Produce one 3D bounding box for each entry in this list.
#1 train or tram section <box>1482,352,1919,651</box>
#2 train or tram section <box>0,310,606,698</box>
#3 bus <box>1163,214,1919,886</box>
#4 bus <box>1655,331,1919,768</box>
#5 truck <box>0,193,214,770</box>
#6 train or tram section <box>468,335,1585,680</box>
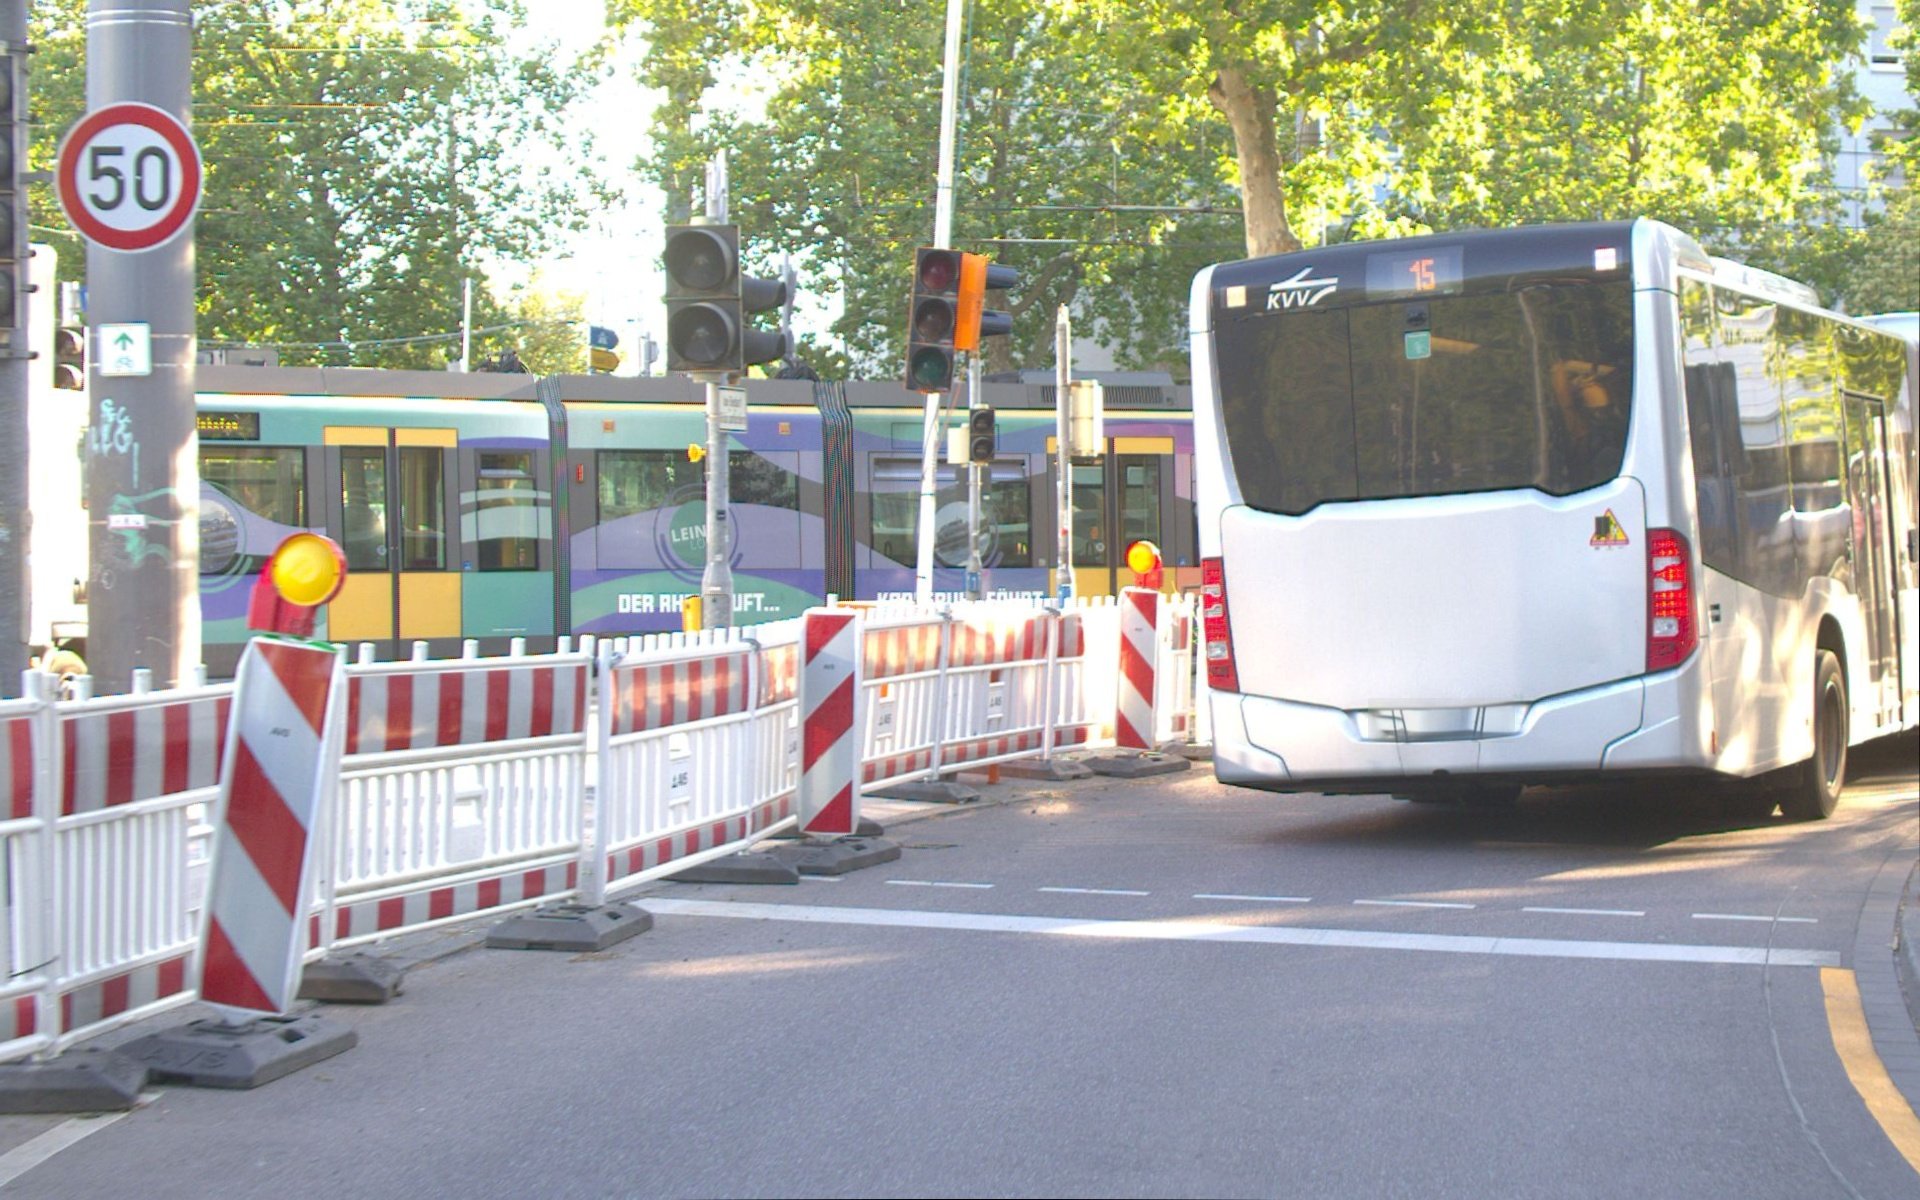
[{"bbox_3d":[13.244,-1.203,43.475,13.285,3.507,2.650,0,0,-17],"label":"train or tram section"},{"bbox_3d":[-9.592,-0.880,32.309,13.359,3.521,2.858,-1,1,-42],"label":"train or tram section"},{"bbox_3d":[4.485,-0.378,21.442,2.737,3.128,10.690,0,2,24],"label":"bus"},{"bbox_3d":[8.961,-0.480,28.338,2.714,3.096,8.961,0,2,37],"label":"bus"},{"bbox_3d":[-7.759,-0.687,19.655,2.814,3.529,8.976,0,1,17],"label":"truck"},{"bbox_3d":[0.975,-1.000,39.124,12.740,3.537,2.738,0,1,-24],"label":"train or tram section"}]
